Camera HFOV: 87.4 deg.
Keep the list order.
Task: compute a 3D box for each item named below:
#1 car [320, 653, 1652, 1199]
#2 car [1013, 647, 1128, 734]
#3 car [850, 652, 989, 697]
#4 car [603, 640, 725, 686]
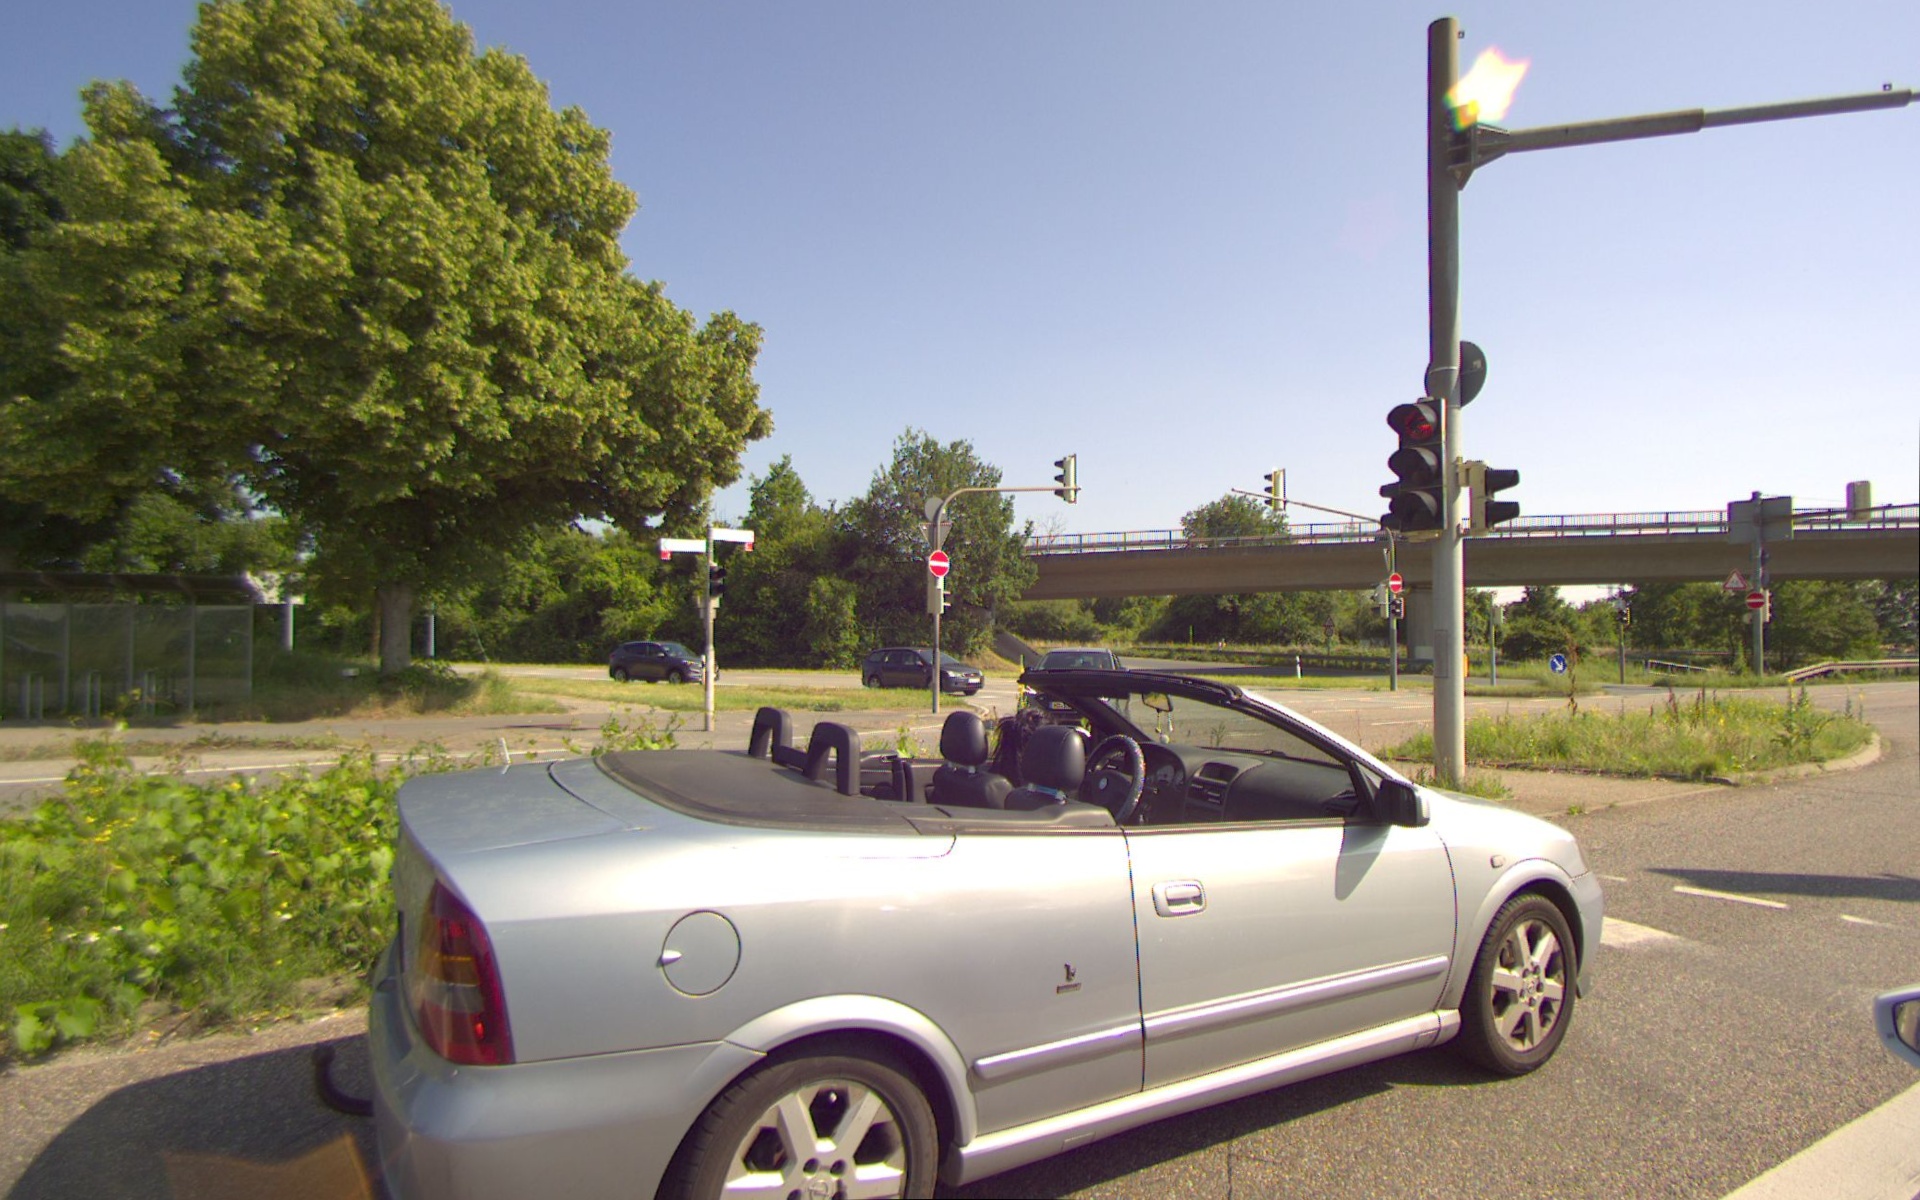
[{"bbox_3d":[0.334,0.872,3.335,4.049,1.352,1.666,1,-3,-30],"label":"car"},{"bbox_3d":[2.210,1.639,19.104,1.833,1.443,4.130,-2,-3,10],"label":"car"},{"bbox_3d":[-1.301,2.281,31.346,4.284,1.297,1.645,-2,-3,37],"label":"car"},{"bbox_3d":[-11.013,2.314,37.356,4.270,1.616,1.651,-1,-2,22],"label":"car"}]
